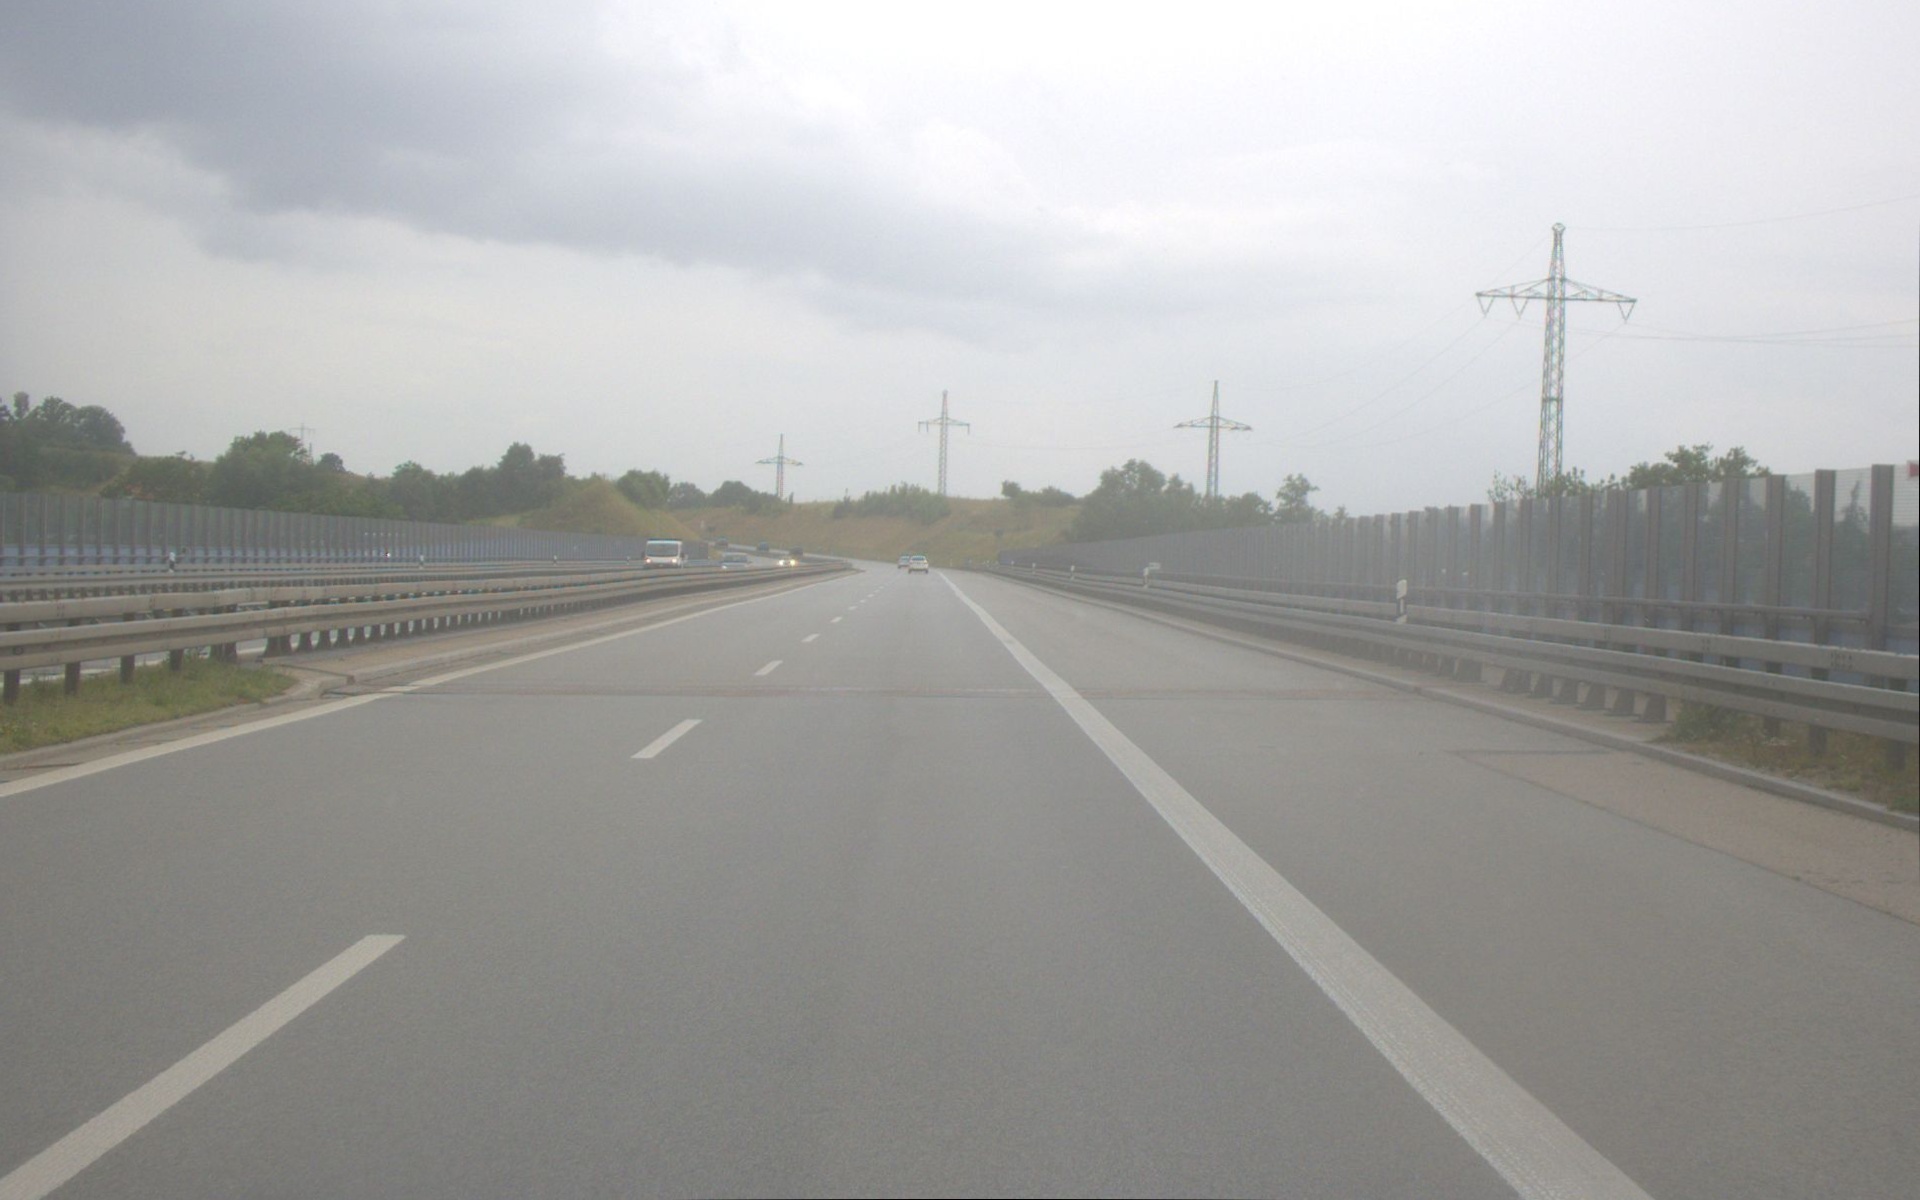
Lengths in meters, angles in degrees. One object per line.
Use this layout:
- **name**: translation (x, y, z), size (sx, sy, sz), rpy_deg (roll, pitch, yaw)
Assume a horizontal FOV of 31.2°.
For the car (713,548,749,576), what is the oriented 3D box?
- **car**: translation (-12.927, -2.153, 194.255), size (1.754, 1.486, 4.000), rpy_deg (1, 1, 0)
